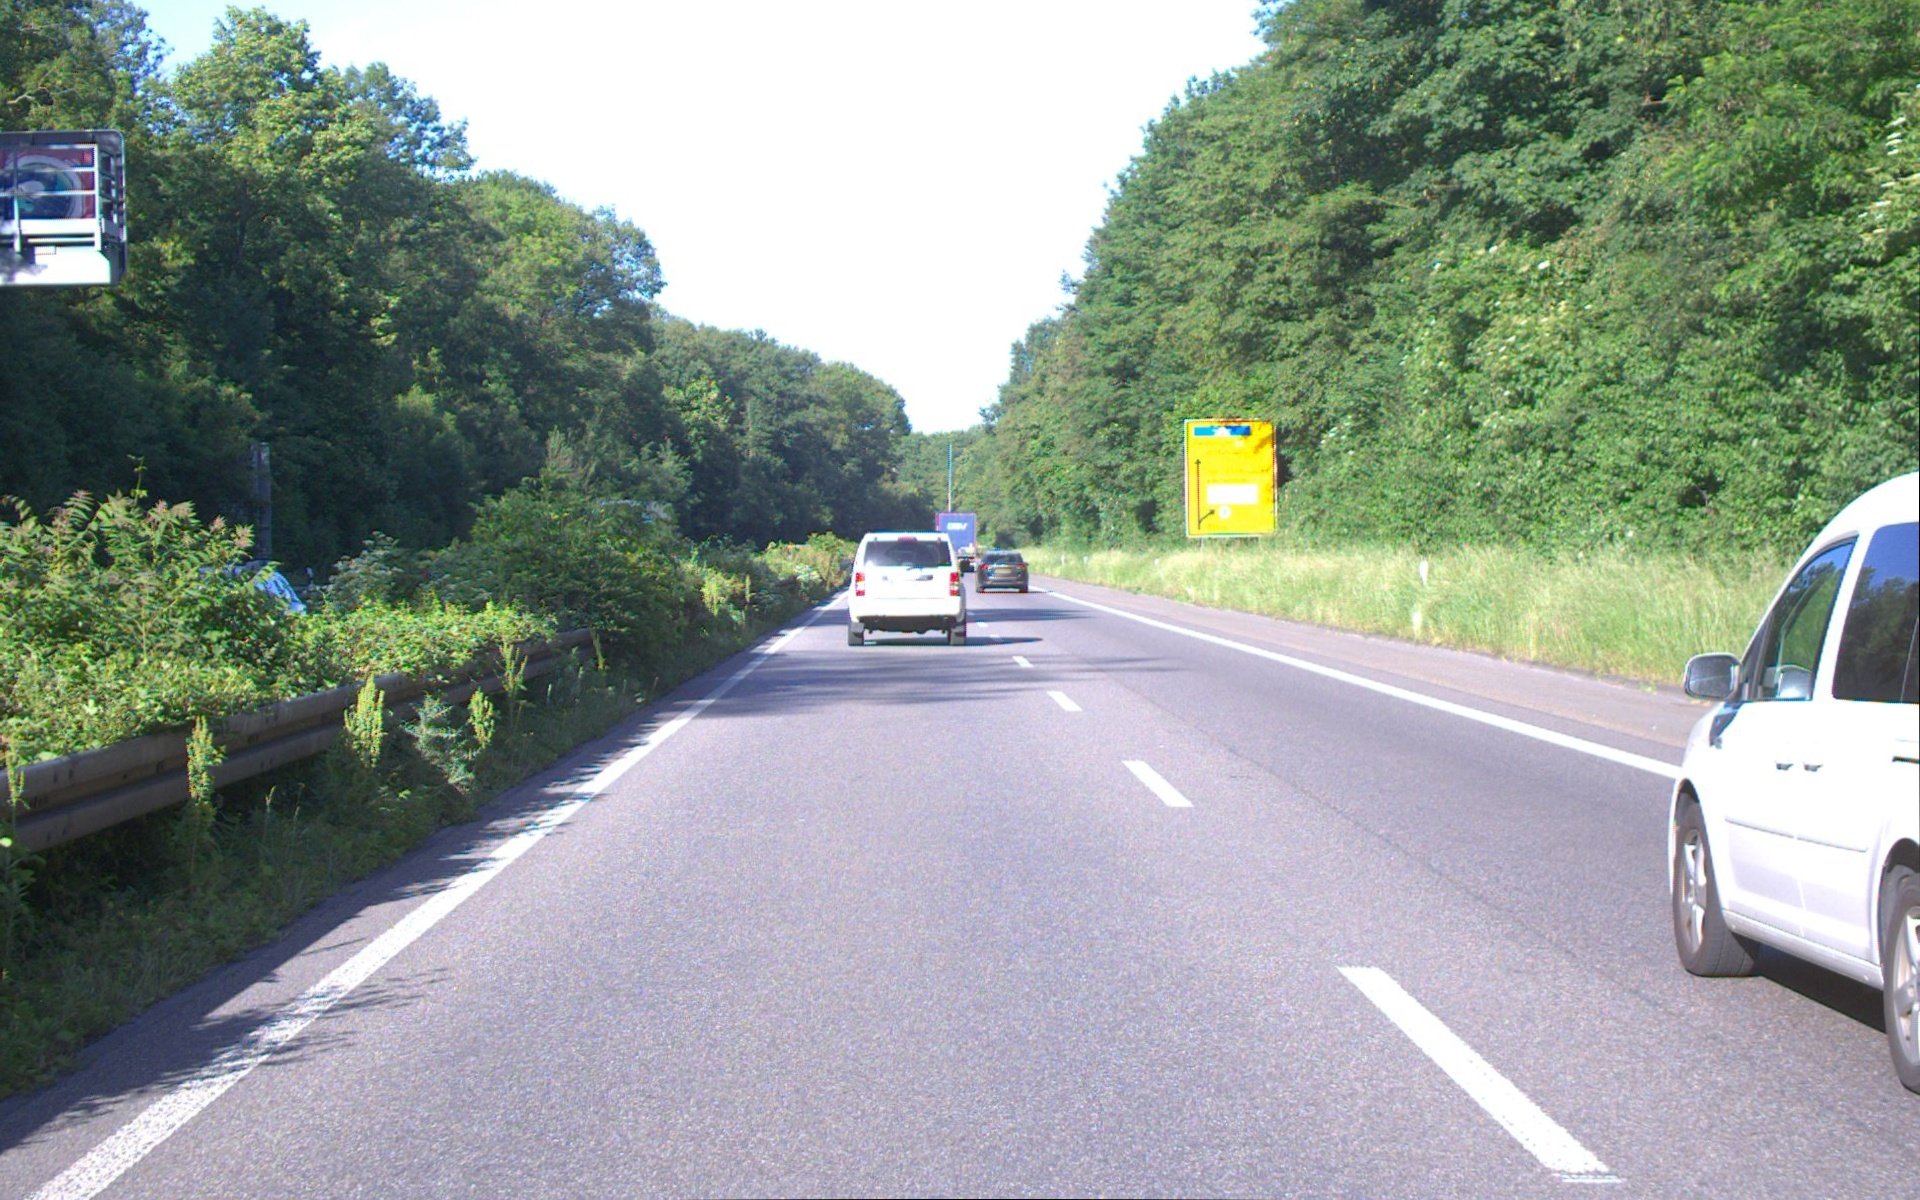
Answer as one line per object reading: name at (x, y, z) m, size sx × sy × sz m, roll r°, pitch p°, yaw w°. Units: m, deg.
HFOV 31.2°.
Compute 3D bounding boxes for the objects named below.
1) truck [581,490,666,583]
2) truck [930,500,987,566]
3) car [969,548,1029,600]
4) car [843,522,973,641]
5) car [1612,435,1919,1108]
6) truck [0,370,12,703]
truck at (-14.891, -2.803, 152.470) m, size 3.228 × 3.999 × 5.677 m, roll 1°, pitch 1°, yaw -1°
truck at (-0.160, -4.512, 233.390) m, size 3.734 × 4.328 × 9.305 m, roll 1°, pitch 0°, yaw -1°
car at (1.349, -0.932, 122.090) m, size 1.951 × 1.776 × 4.588 m, roll 1°, pitch 0°, yaw -1°
car at (-0.845, -0.302, 54.652) m, size 1.951 × 1.776 × 4.588 m, roll 1°, pitch 0°, yaw -1°
car at (3.447, 0.460, 10.820) m, size 1.799 × 1.807 × 4.588 m, roll 1°, pitch 0°, yaw -1°
truck at (-12.700, -0.729, 35.379) m, size 2.769 × 3.942 × 11.467 m, roll 1°, pitch 0°, yaw -1°
